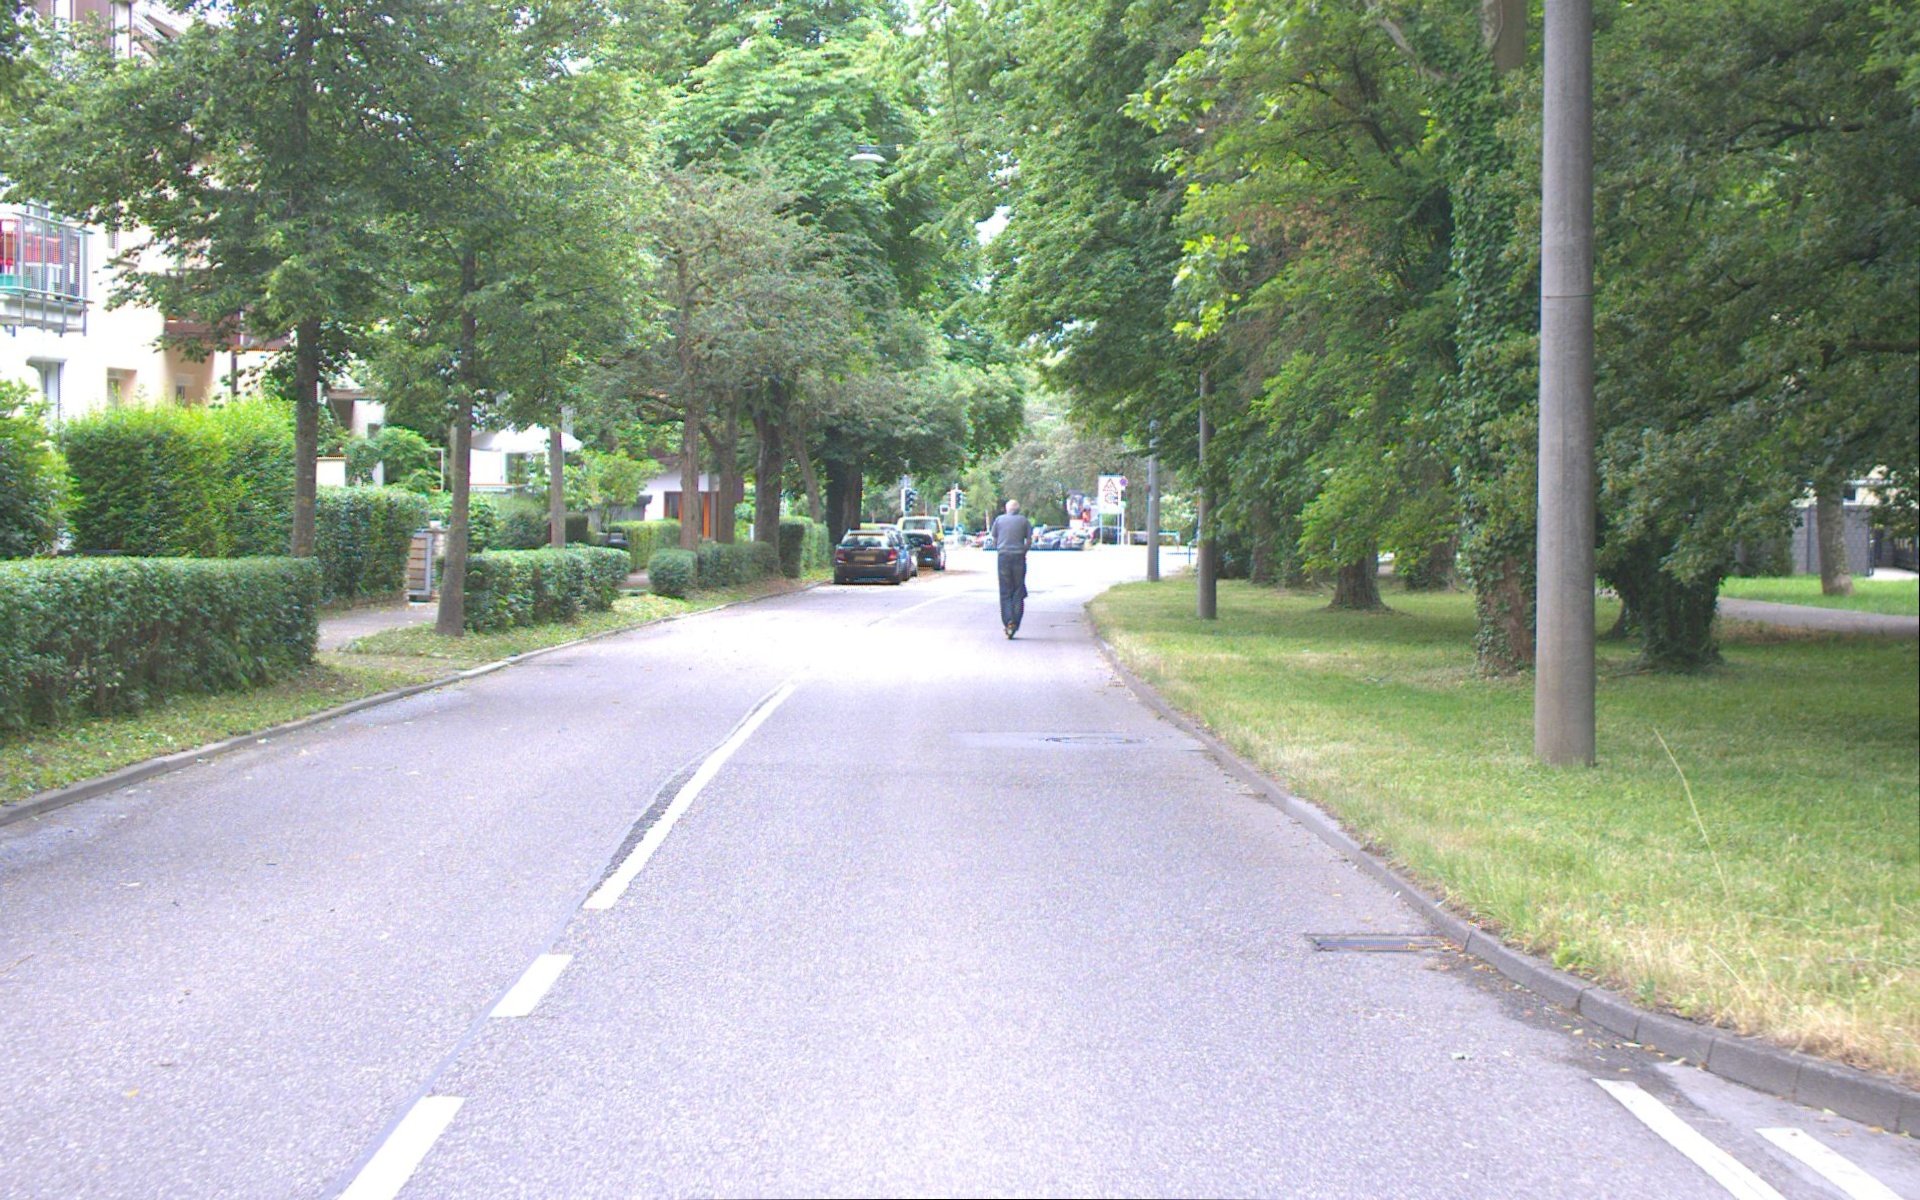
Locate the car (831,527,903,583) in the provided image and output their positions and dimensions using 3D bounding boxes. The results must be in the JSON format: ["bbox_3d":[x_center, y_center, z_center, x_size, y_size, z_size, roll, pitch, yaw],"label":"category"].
[{"bbox_3d":[-2.465,-1.213,92.028,1.794,1.467,4.418,0,1,0],"label":"car"}]

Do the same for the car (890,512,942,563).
[{"bbox_3d":[-1.748,-2.409,134.165,1.857,1.957,4.505,0,0,-3],"label":"car"}]

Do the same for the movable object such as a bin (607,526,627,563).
[{"bbox_3d":[-8.343,-1.345,83.566,0.456,0.912,0.508,0,1,-4],"label":"movable object such as a bin"}]

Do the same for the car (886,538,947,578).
[{"bbox_3d":[-1.545,-1.499,123.326,1.892,1.405,4.553,0,1,3],"label":"car"}]

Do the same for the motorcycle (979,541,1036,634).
[{"bbox_3d":[0.653,-0.180,46.704,0.673,1.213,1.273,2,1,4],"label":"motorcycle"}]

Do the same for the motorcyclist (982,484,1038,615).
[{"bbox_3d":[0.682,-0.685,46.893,0.673,1.755,0.639,2,1,4],"label":"motorcyclist"}]

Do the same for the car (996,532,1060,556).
[{"bbox_3d":[4.280,-3.523,216.732,3.987,1.505,1.800,0,1,0],"label":"car"}]

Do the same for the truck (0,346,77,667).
[{"bbox_3d":[-12.146,-0.983,34.709,5.795,3.120,2.518,1,1,-1],"label":"truck"}]
